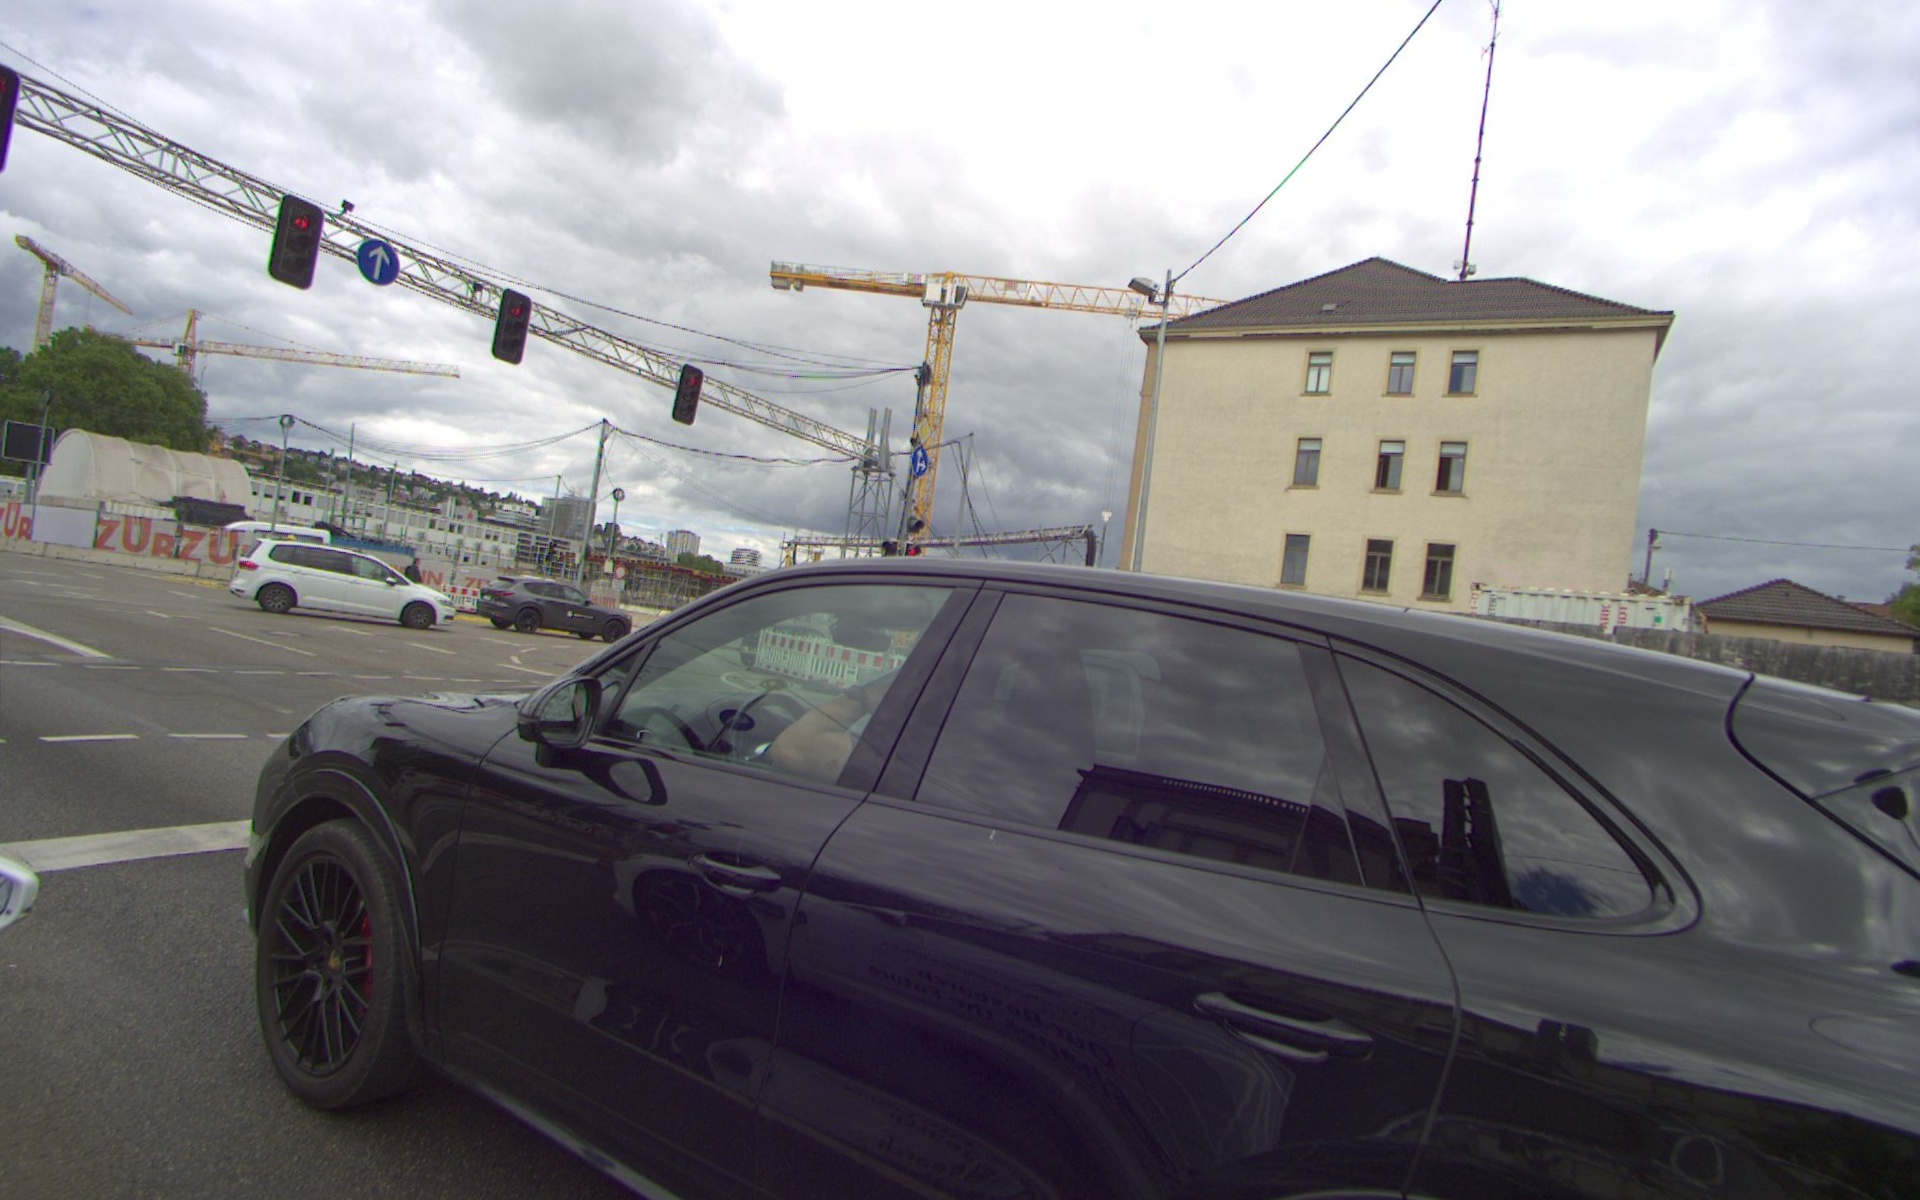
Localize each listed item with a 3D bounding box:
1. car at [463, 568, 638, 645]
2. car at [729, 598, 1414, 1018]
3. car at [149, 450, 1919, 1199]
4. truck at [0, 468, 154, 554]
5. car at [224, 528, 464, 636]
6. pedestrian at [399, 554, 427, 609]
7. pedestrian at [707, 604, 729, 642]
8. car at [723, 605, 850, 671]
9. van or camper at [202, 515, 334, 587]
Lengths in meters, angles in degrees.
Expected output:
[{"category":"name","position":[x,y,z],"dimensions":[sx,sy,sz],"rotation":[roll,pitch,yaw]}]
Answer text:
[{"category":"car","position":[-12.703,0.247,31.425],"dimensions":[1.857,1.689,4.594],"rotation":[7,-3,41]},{"category":"car","position":[0.595,1.046,6.361],"dimensions":[3.818,1.561,1.667],"rotation":[7,-2,33]},{"category":"car","position":[0.039,0.718,2.685],"dimensions":[4.559,1.705,1.959],"rotation":[7,-2,33]},{"category":"truck","position":[-57.895,-5.809,61.917],"dimensions":[3.875,4.086,13.089],"rotation":[8,-2,12]},{"category":"car","position":[-14.163,-0.384,23.332],"dimensions":[4.405,1.755,1.867],"rotation":[10,-2,-34]},{"category":"pedestrian","position":[-21.182,-0.712,38.950],"dimensions":[0.647,2.037,0.513],"rotation":[8,-1,-33]},{"category":"pedestrian","position":[-12.246,1.162,50.959],"dimensions":[0.607,1.816,0.654],"rotation":[7,-1,23]},{"category":"car","position":[-5.725,1.302,33.668],"dimensions":[1.771,1.687,4.062],"rotation":[7,-3,32]},{"category":"van or camper","position":[-29.807,-2.081,43.399],"dimensions":[4.204,2.384,1.976],"rotation":[10,-3,-44]}]
